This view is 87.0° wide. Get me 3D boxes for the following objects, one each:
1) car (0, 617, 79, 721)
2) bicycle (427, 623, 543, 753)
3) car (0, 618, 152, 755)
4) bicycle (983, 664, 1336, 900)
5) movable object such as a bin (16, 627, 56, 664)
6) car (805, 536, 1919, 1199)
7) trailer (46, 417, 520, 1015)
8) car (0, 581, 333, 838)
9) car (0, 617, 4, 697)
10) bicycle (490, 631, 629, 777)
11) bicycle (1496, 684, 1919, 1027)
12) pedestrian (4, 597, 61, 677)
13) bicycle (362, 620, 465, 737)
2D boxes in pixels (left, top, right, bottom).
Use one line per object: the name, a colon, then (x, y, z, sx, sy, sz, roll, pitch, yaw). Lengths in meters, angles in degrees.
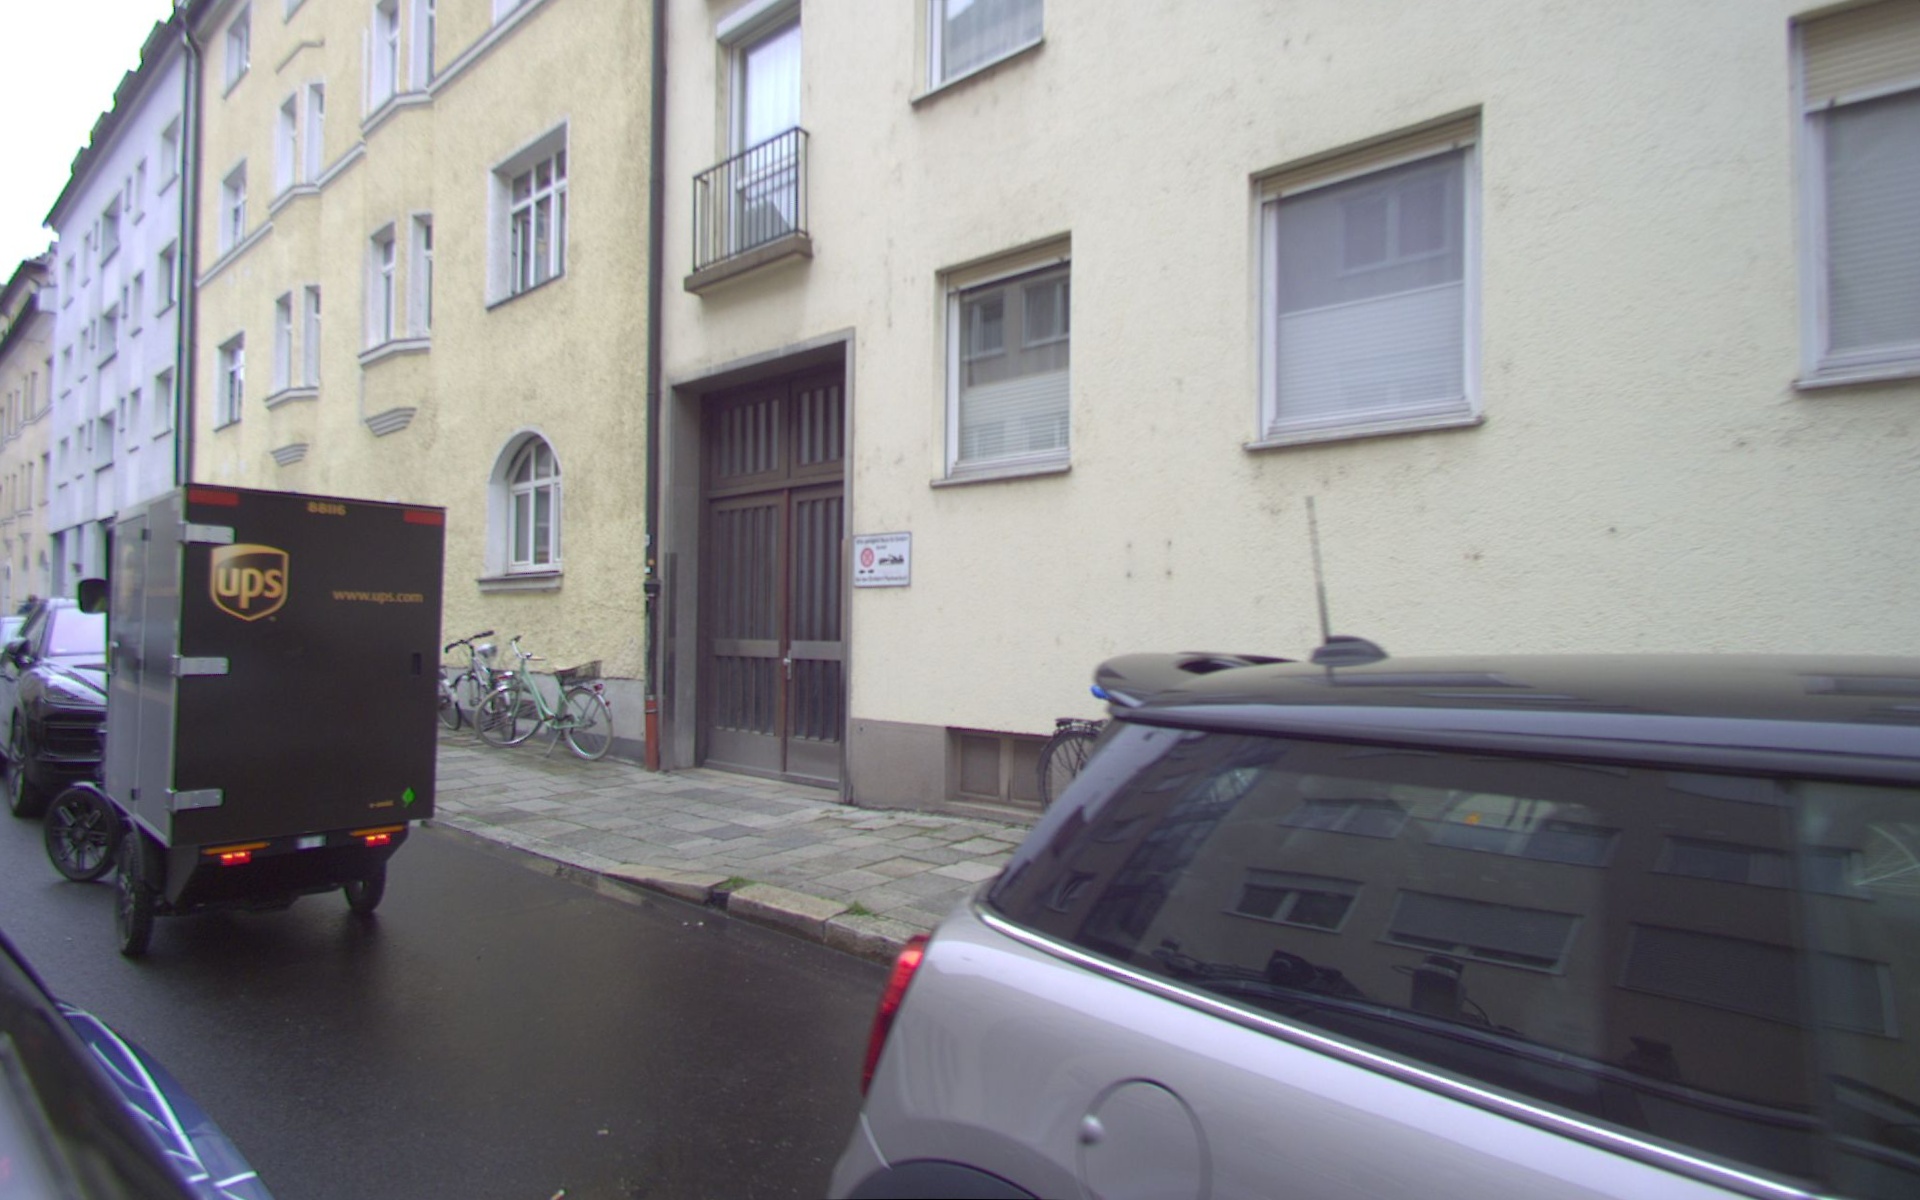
car: (-14.966, 0.990, 15.545, 3.760, 1.471, 1.547, -1, -3, 40)
bicycle: (-5.210, 0.918, 11.068, 1.550, 1.288, 0.529, 0, 1, 40)
car: (-11.310, 0.971, 12.485, 3.475, 1.471, 1.546, -1, -3, 43)
bicycle: (1.040, 0.906, 5.606, 1.813, 1.035, 0.687, -2, -1, 42)
movable object such as a bin: (-28.320, 1.391, 31.028, 0.622, 1.059, 0.799, -1, 2, 40)
car: (1.745, 0.703, 0.746, 3.801, 1.446, 1.635, -1, -3, 41)
trailer: (-3.665, 0.425, 5.253, 3.319, 2.132, 1.340, 0, -1, 44)
car: (-7.238, 0.770, 8.816, 4.414, 1.672, 1.859, -1, -3, 43)
car: (-19.500, 1.042, 19.321, 3.404, 1.471, 1.546, -1, -3, 43)
bicycle: (-3.963, 0.969, 9.969, 1.550, 1.288, 0.588, 0, 1, 40)
bicycle: (3.098, 0.883, 3.789, 1.811, 1.035, 0.723, -2, -1, 39)
pedestrian: (-21.174, 0.821, 23.104, 1.067, 1.778, 0.830, -1, -1, 41)
bicycle: (-6.586, 0.901, 12.163, 1.550, 1.288, 0.529, 0, 1, 40)
